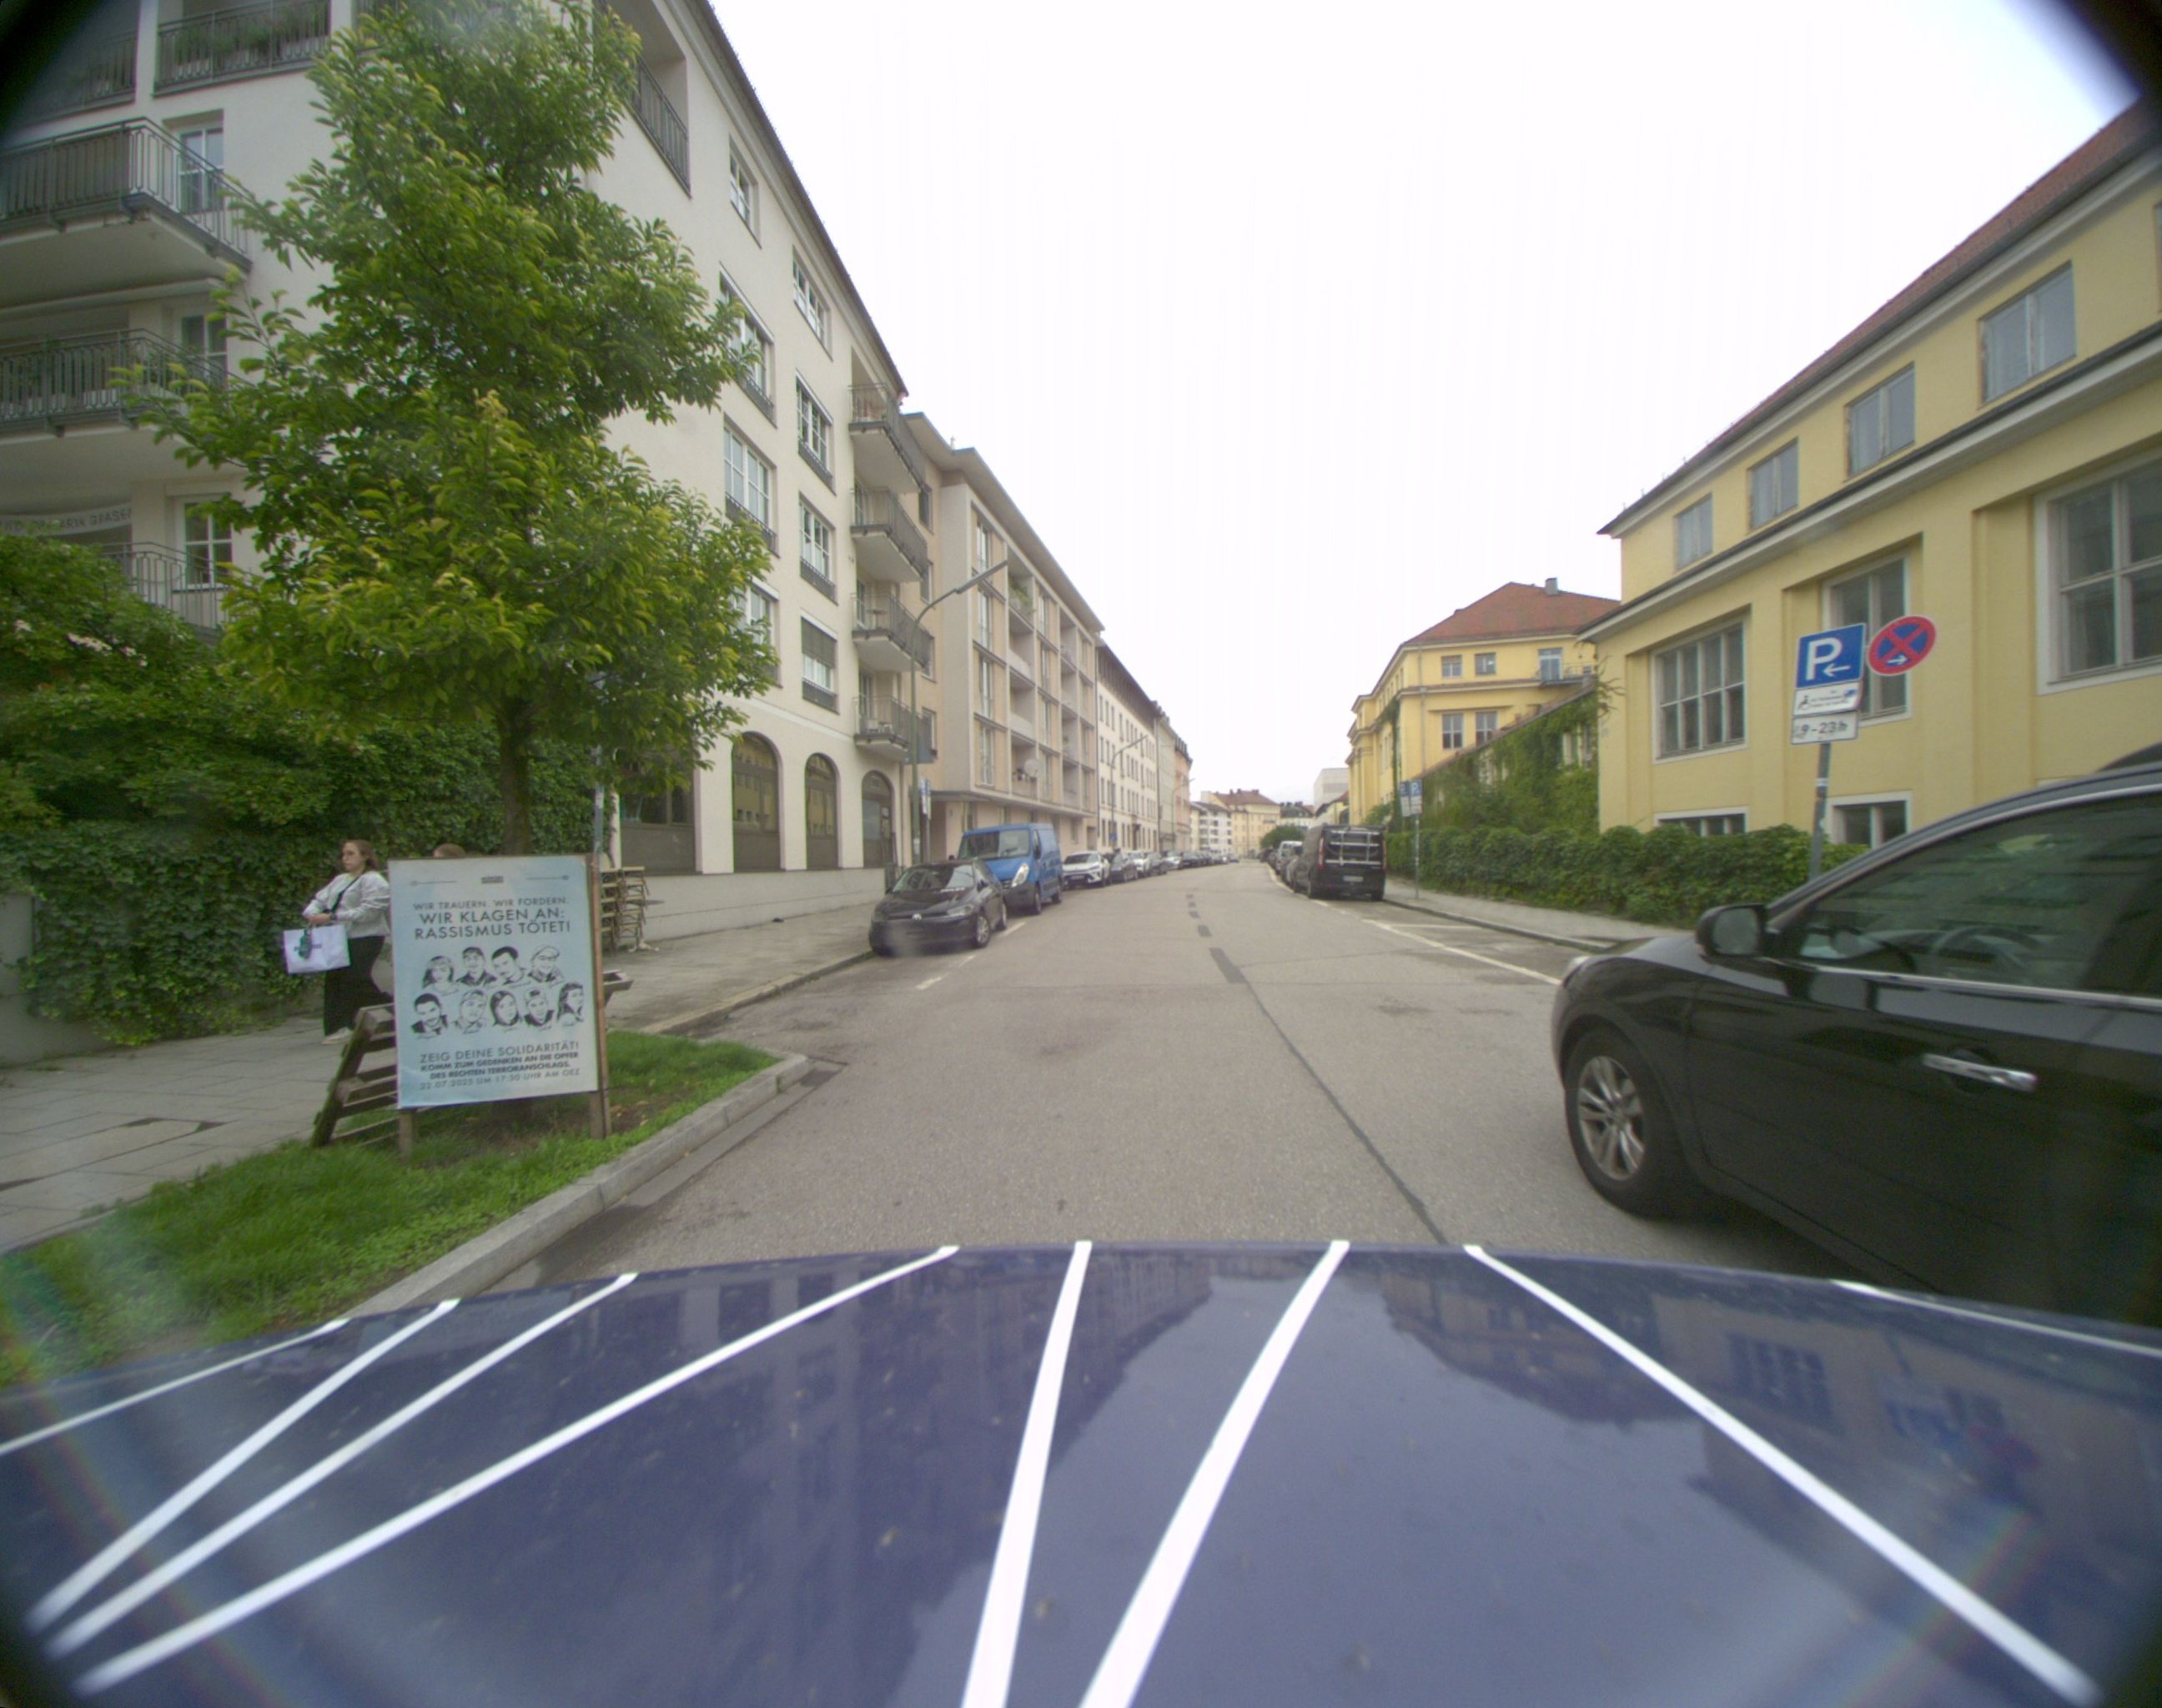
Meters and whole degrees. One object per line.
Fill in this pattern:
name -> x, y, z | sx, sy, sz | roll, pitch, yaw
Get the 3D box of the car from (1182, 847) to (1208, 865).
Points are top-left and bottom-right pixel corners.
car -> 9.865, 0.192, 65.514 | 1.876, 1.439, 4.705 | -2, 0, 12

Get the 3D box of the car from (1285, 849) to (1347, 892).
car -> 8.442, 0.556, 27.592 | 1.709, 1.357, 4.005 | 3, 1, 12

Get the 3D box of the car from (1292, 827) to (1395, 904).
car -> 7.515, 0.294, 22.233 | 1.929, 1.968, 4.625 | 2, 0, 8

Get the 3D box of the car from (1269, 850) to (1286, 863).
car -> 22.220, 0.253, 86.022 | 1.736, 1.431, 3.783 | 2, 1, 14

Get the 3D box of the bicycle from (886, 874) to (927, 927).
bicycle -> -3.870, 1.008, 16.948 | 0.566, 1.063, 1.786 | -1, 0, -3

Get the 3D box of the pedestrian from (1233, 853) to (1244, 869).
pedestrian -> 30.302, 1.322, 146.001 | 1.927, 2.933, 2.027 | 0, 0, 14

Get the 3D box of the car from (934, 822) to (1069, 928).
car -> -1.826, 0.390, 19.515 | 2.113, 2.201, 5.029 | -6, 2, 8

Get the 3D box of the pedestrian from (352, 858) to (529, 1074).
pedestrian -> -5.164, 0.852, 6.186 | 0.680, 1.619, 0.830 | 0, 2, 4

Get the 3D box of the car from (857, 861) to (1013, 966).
car -> -2.341, 0.903, 13.263 | 1.718, 1.386, 4.000 | -4, 0, 2

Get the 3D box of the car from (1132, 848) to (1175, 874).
car -> 4.391, 0.403, 45.612 | 1.830, 1.373, 4.496 | -3, -1, 14

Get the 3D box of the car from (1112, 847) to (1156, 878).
car -> 2.914, 0.443, 41.074 | 1.705, 1.460, 4.123 | -5, 0, 12

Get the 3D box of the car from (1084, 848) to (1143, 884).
car -> 1.622, 0.529, 35.871 | 1.775, 1.420, 4.698 | -5, -1, 14

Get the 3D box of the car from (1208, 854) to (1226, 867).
car -> 17.055, 0.832, 95.067 | 1.723, 1.457, 4.197 | -3, -1, 15

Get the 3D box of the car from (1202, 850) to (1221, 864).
car -> 15.360, 0.375, 89.076 | 1.767, 1.531, 4.004 | -4, -1, 14

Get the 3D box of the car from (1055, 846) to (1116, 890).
car -> 0.255, 0.543, 30.623 | 1.779, 1.513, 4.307 | -5, -1, 8

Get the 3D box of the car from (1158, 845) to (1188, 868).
car -> 6.844, 0.199, 56.312 | 1.617, 1.507, 3.384 | -5, -1, 15

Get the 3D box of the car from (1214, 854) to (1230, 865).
car -> 20.643, 0.798, 111.402 | 1.999, 1.563, 4.496 | -3, -1, 14

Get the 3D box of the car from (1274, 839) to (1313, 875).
car -> 11.957, 0.142, 42.979 | 1.895, 1.788, 4.886 | 4, 1, 14

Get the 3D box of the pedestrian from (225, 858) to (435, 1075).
pedestrian -> -5.972, 0.842, 6.097 | 0.808, 1.597, 0.830 | 0, 2, 5

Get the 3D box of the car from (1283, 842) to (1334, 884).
car -> 9.620, 0.356, 32.414 | 1.704, 1.597, 4.495 | 3, 1, 13

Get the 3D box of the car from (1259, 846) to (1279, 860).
car -> 34.530, -0.117, 139.885 | 2.845, 2.537, 6.897 | 0, 0, 8

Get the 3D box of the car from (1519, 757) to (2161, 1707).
car -> 2.916, 0.673, 1.374 | 1.997, 1.709, 4.617 | -1, 0, 6

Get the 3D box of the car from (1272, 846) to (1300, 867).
car -> 15.531, 0.186, 57.722 | 1.719, 1.473, 4.224 | 3, 1, 12
